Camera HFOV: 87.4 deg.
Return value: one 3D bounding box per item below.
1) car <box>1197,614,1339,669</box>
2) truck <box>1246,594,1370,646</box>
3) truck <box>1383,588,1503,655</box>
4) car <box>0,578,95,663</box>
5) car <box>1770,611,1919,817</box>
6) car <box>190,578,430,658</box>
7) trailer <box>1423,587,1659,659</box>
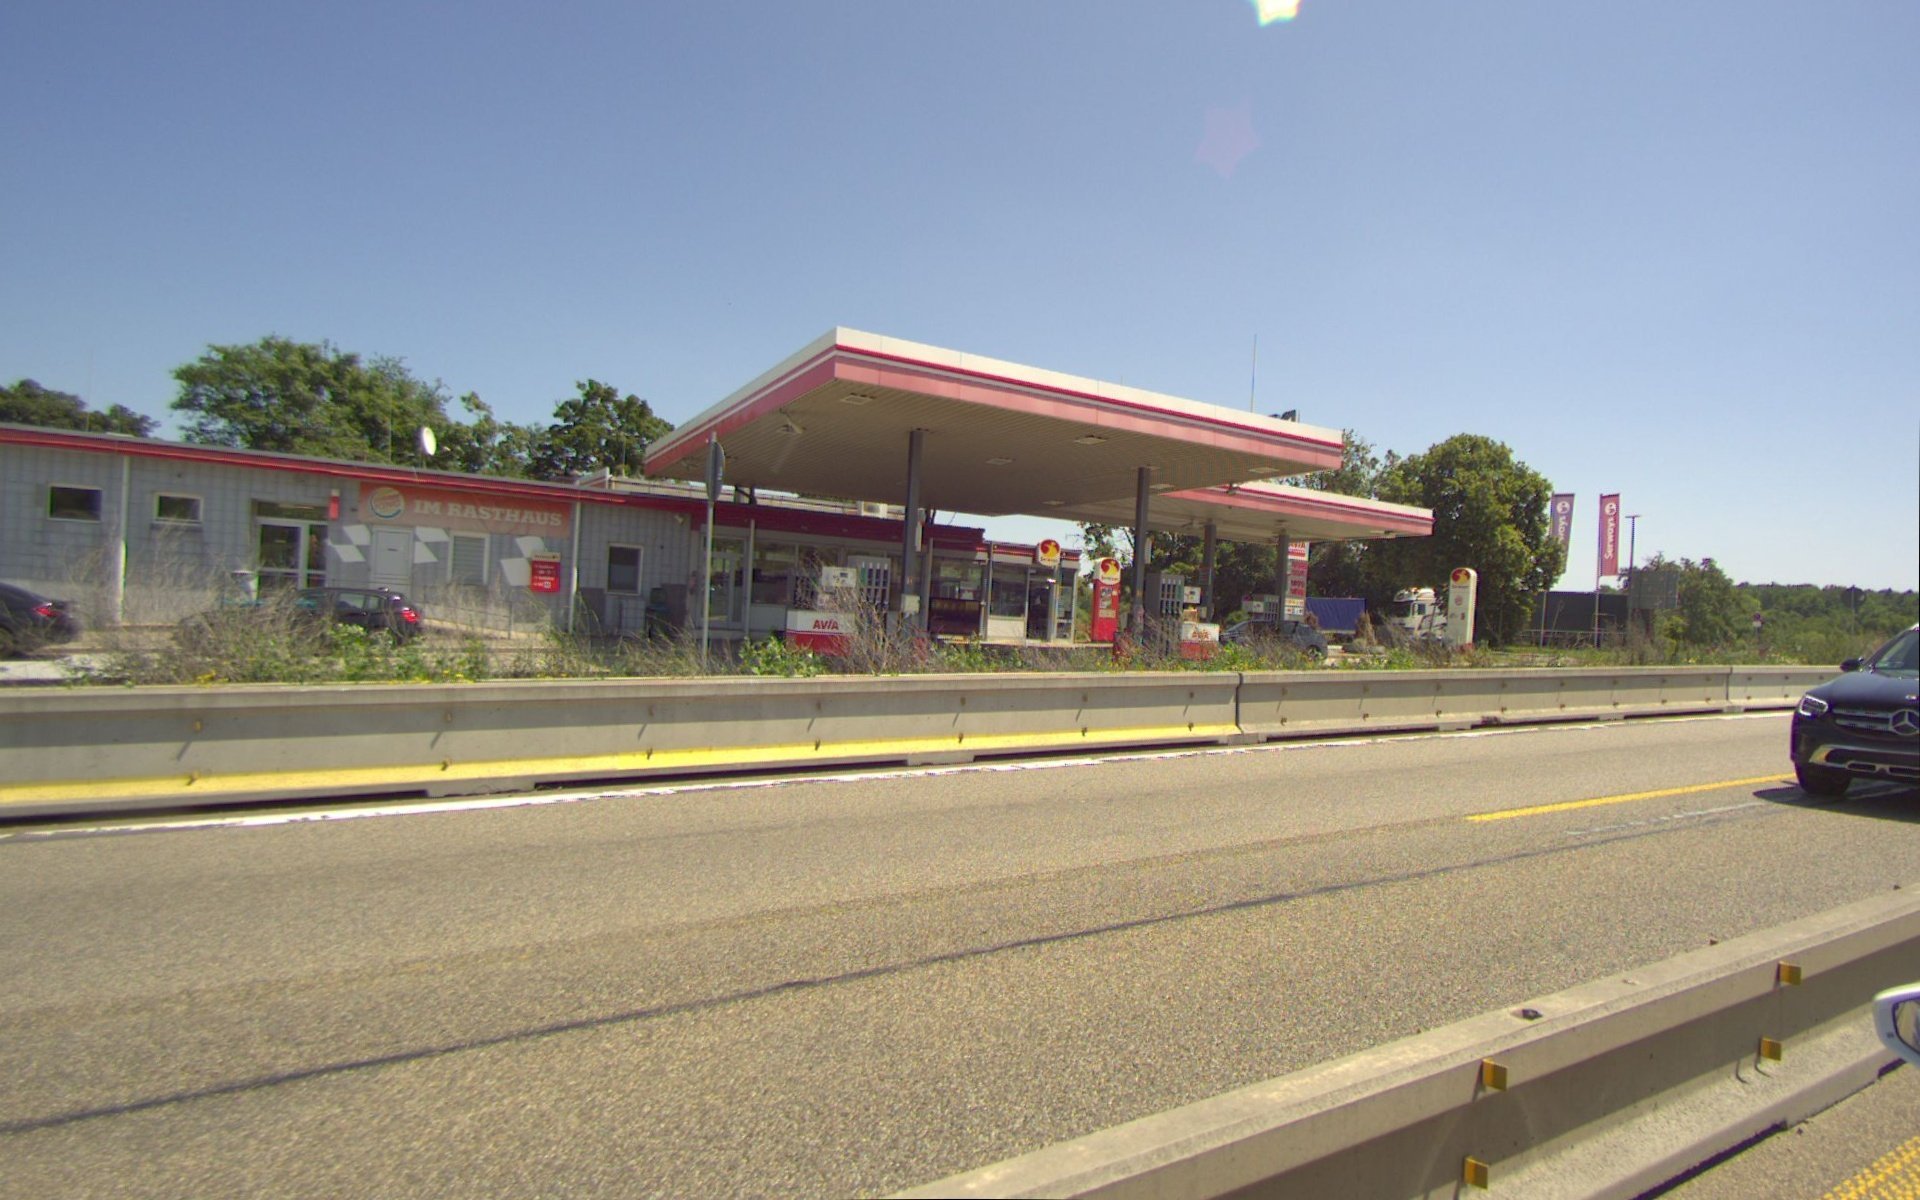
[{"bbox_3d":[9.779,1.327,31.838,4.263,1.430,1.743,2,7,-29],"label":"car"},{"bbox_3d":[22.476,1.298,65.020,6.991,3.104,2.824,2,-1,-8],"label":"truck"},{"bbox_3d":[31.511,1.378,65.662,6.224,4.038,3.159,2,-1,-3],"label":"truck"},{"bbox_3d":[-18.070,0.344,17.735,3.953,1.374,1.637,0,5,-31],"label":"car"},{"bbox_3d":[9.645,0.963,9.284,4.680,1.625,1.846,1,0,-31],"label":"car"},{"bbox_3d":[-13.123,0.375,20.549,3.954,1.351,1.637,2,5,-31],"label":"car"},{"bbox_3d":[38.036,1.518,66.034,13.890,4.165,3.159,2,-1,-3],"label":"trailer"}]
